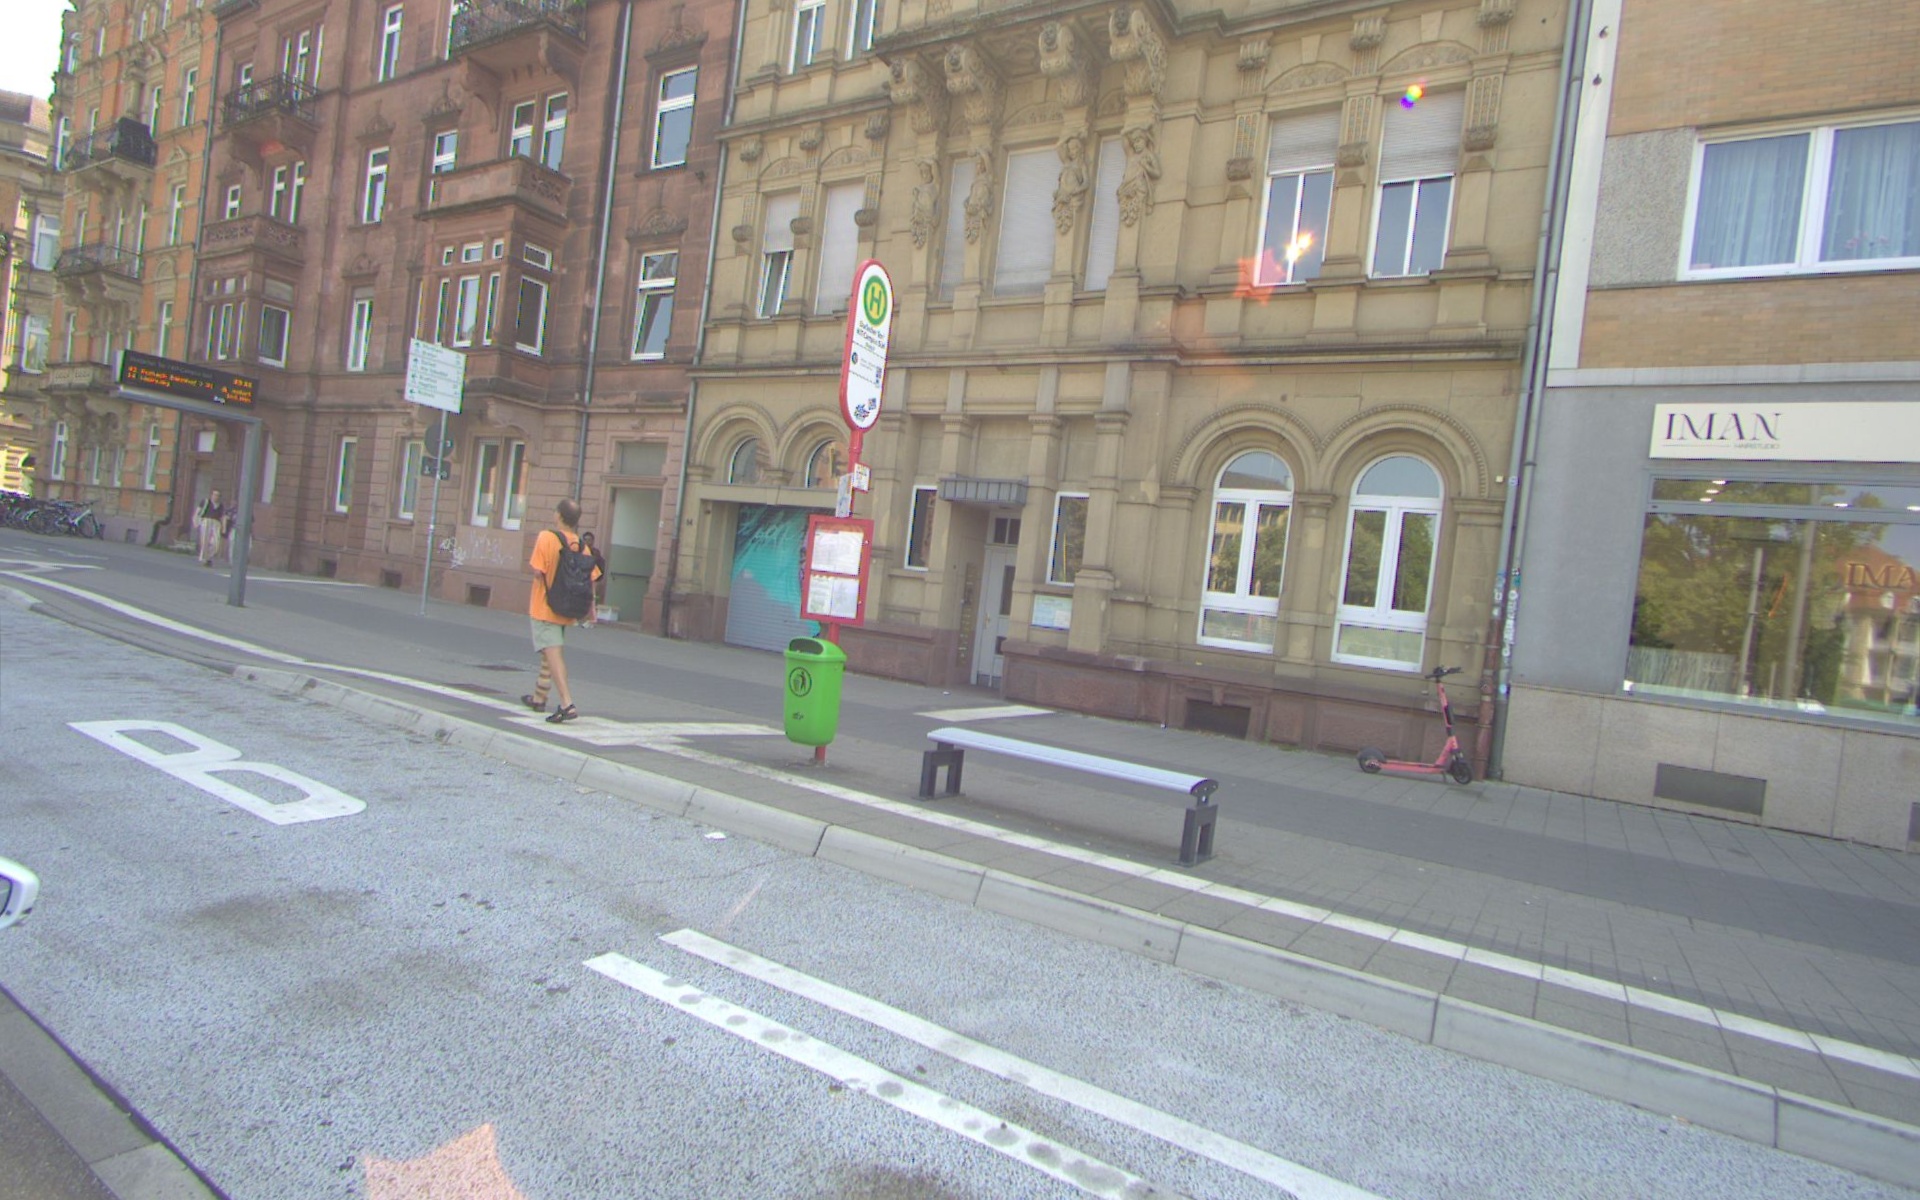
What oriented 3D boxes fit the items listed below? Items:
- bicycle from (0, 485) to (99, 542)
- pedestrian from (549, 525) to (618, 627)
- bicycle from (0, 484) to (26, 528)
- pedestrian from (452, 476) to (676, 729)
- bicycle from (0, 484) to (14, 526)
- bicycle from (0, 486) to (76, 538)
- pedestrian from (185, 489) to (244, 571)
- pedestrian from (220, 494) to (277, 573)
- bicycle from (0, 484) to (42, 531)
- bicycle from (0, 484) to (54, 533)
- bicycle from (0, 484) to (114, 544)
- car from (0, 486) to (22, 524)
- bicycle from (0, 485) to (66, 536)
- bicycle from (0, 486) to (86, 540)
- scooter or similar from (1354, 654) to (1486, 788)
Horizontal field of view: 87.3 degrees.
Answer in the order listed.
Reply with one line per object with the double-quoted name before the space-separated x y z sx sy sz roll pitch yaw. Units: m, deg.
"bicycle" -27.869 -2.626 30.108 0.857 1.388 2.997 7 0 31
"pedestrian" -7.026 -0.429 18.818 0.729 1.800 0.870 7 1 4
"bicycle" -33.071 -3.286 33.270 0.932 1.390 3.007 7 0 31
"pedestrian" -3.060 0.016 7.774 1.221 1.762 0.963 7 0 39
"bicycle" -33.954 -3.408 33.776 0.932 1.390 3.007 7 0 31
"bicycle" -29.421 -2.797 31.060 0.857 1.388 2.997 7 0 31
"pedestrian" -17.632 -1.659 23.789 0.833 1.798 0.715 7 1 31
"pedestrian" -17.279 -1.609 24.431 0.856 1.800 0.715 7 1 30
"bicycle" -31.958 -3.163 32.618 0.932 1.390 3.007 7 0 31
"bicycle" -31.100 -3.055 32.127 0.932 1.390 3.007 7 0 31
"bicycle" -27.065 -2.557 29.717 0.857 1.388 2.997 7 0 31
"car" -41.993 -4.228 41.862 1.652 1.539 3.942 7 0 24
"bicycle" -30.200 -2.928 31.549 0.932 1.390 3.007 7 0 31
"bicycle" -28.648 -2.702 30.548 0.857 1.388 2.997 7 0 31
"scooter or similar" 4.892 1.258 10.718 1.122 1.228 0.476 7 1 27
